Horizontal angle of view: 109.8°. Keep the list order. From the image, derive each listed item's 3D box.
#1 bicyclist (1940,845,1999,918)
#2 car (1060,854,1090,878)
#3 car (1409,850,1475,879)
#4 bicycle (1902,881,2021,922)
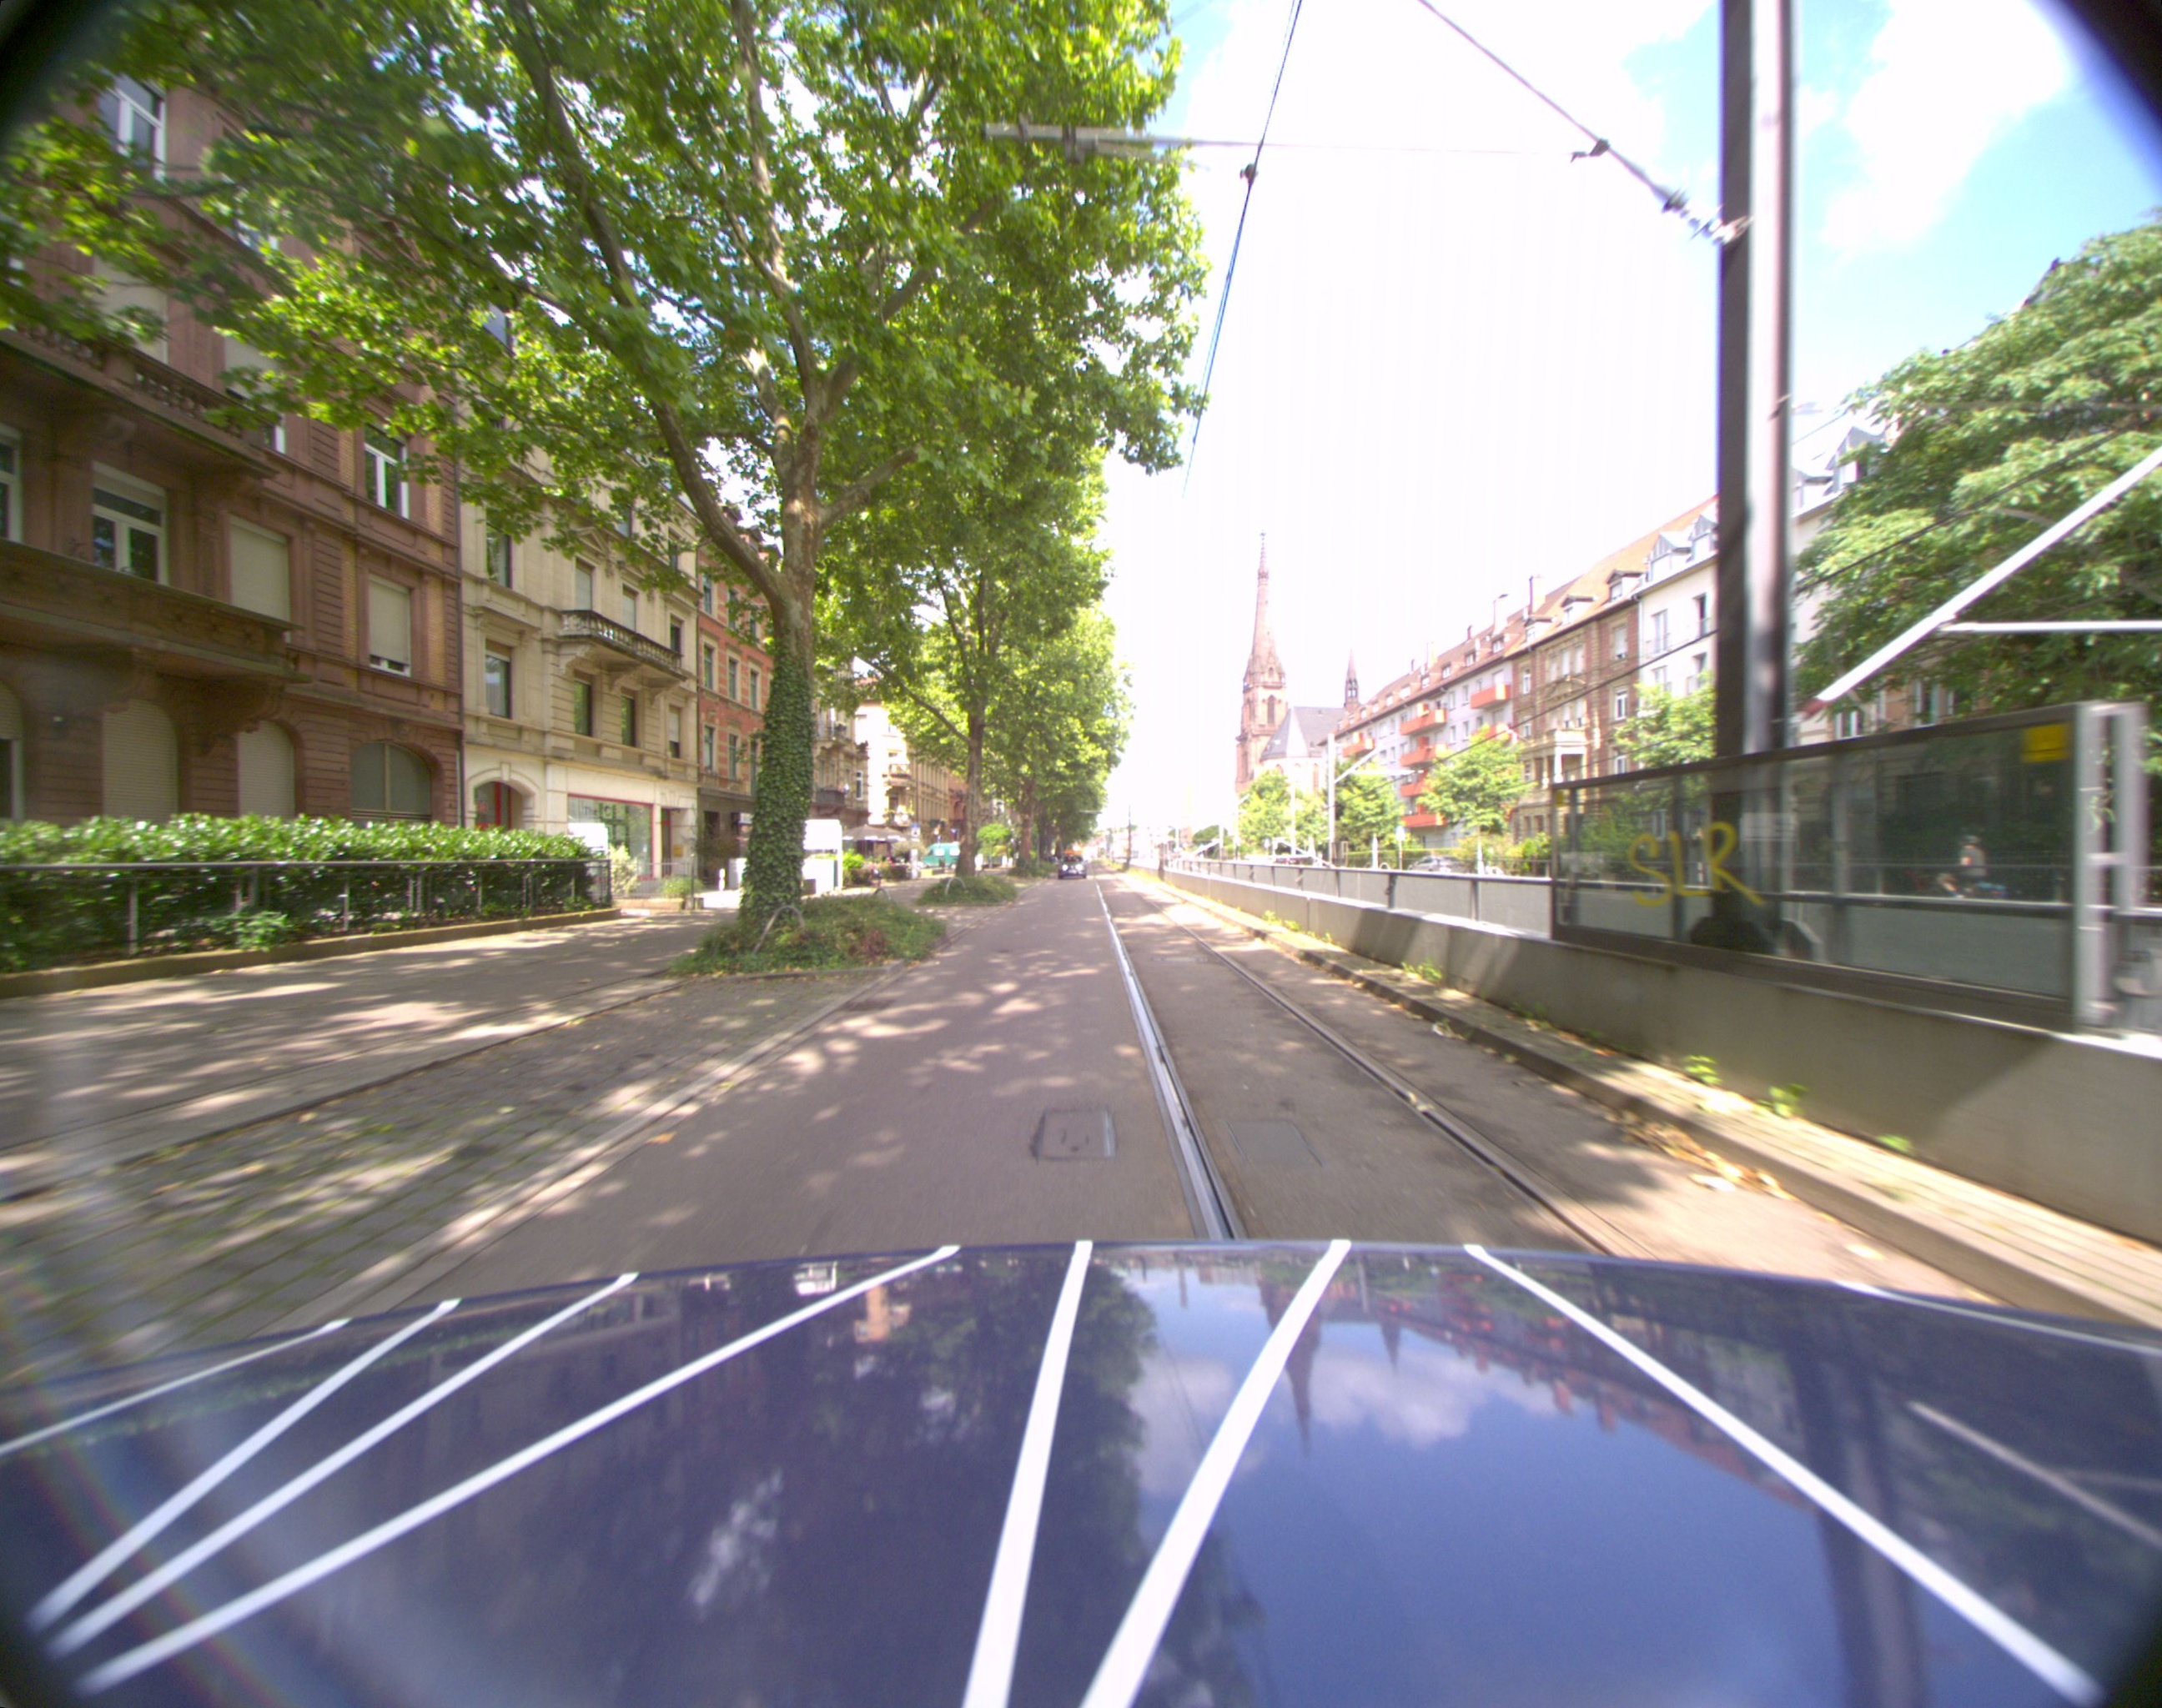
[{"bbox_3d":[19.191,0.587,16.424,0.504,1.535,0.607,1,1,0],"label":"bicyclist"},{"bbox_3d":[-0.364,0.751,49.600,1.799,1.454,4.567,0,0,2],"label":"car"},{"bbox_3d":[21.466,0.580,45.339,1.998,1.628,4.114,0,0,1],"label":"car"},{"bbox_3d":[19.207,1.010,16.629,0.497,0.764,1.816,0,0,0],"label":"bicycle"}]
